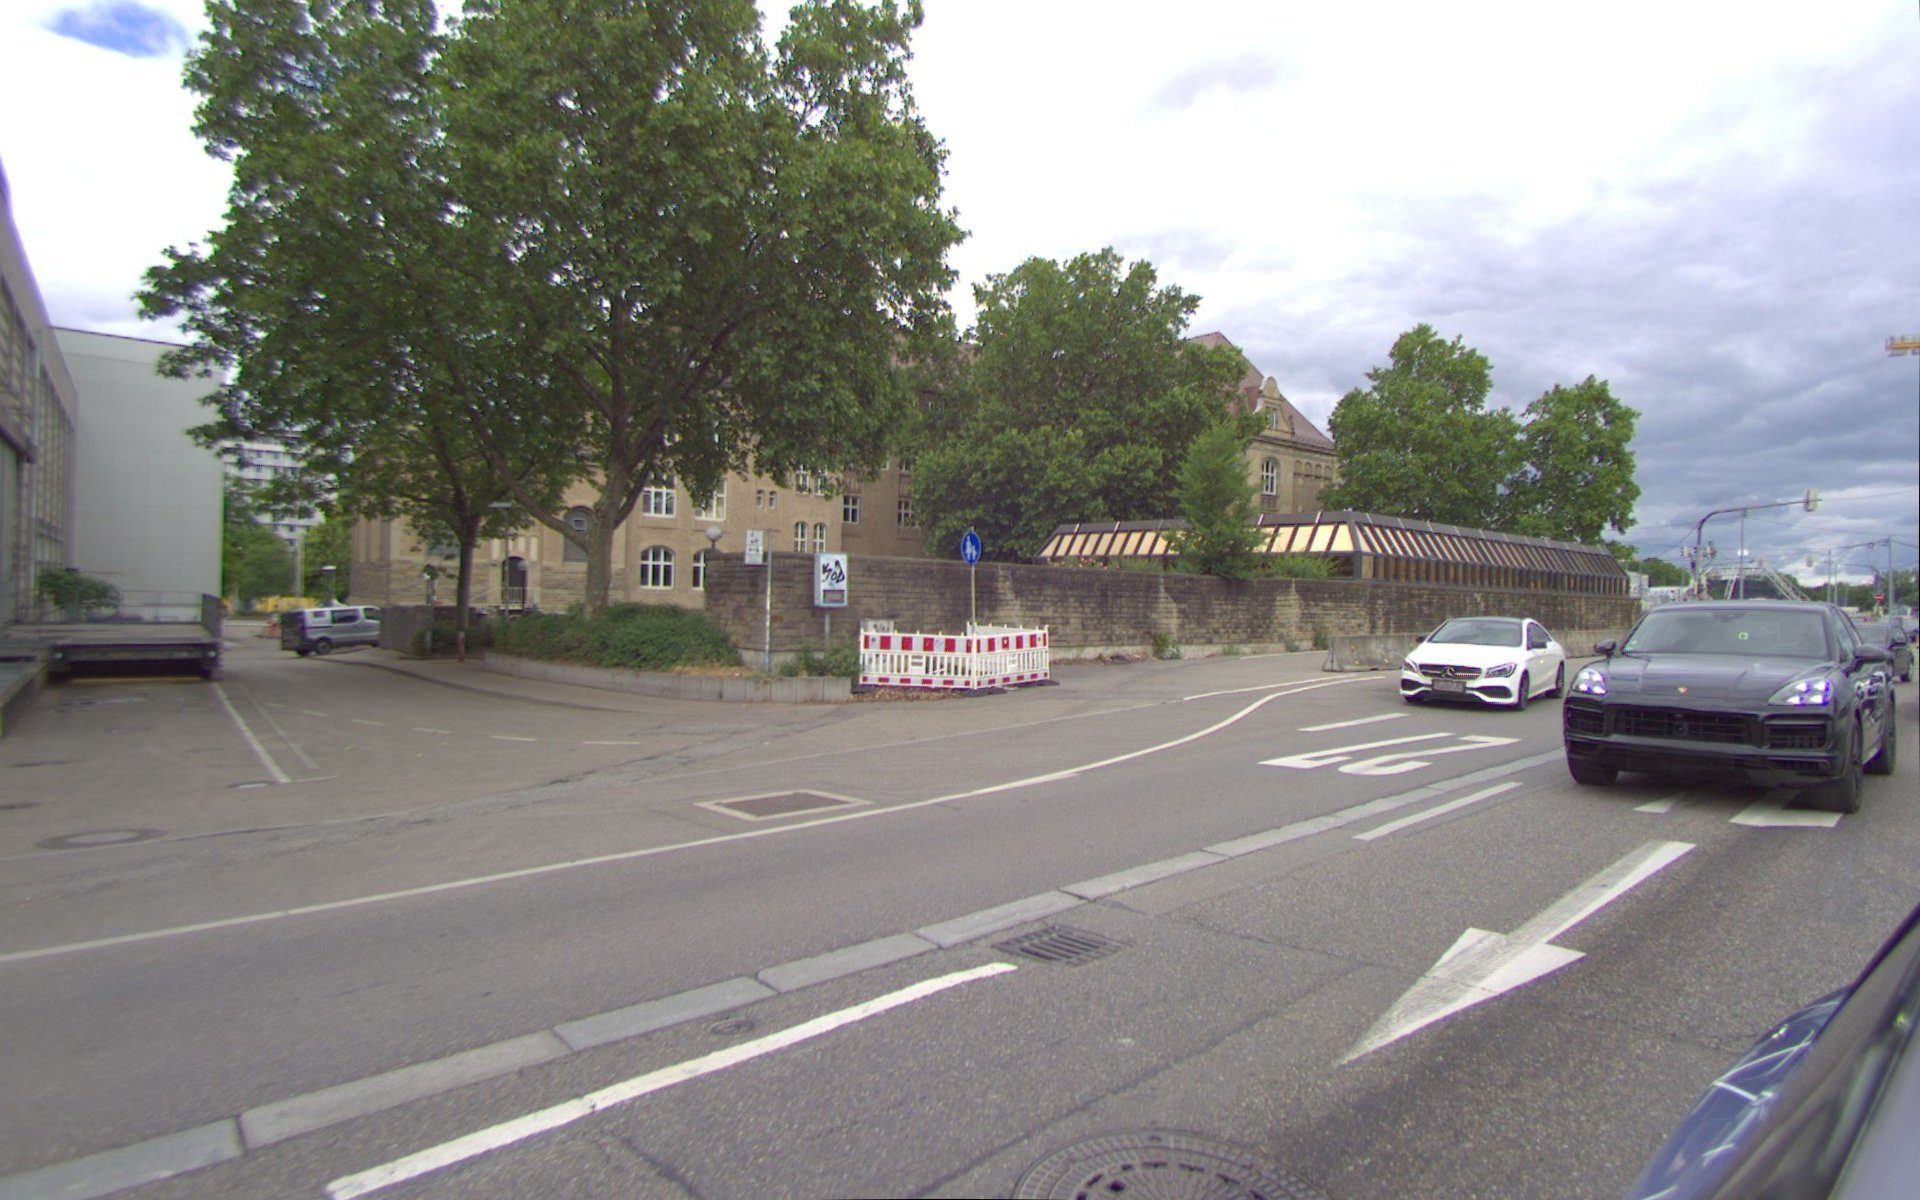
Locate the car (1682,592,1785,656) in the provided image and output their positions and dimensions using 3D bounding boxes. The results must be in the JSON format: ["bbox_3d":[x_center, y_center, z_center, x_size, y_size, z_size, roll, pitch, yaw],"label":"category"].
[{"bbox_3d":[26.087,0.803,34.099,3.607,1.962,1.937,2,2,-40],"label":"car"}]

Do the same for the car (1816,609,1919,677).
[{"bbox_3d":[23.014,1.032,25.308,4.340,1.488,1.732,1,1,-40],"label":"car"}]

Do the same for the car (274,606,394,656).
[{"bbox_3d":[-26.870,1.301,43.576,1.983,2.039,3.956,-1,-1,31],"label":"car"}]

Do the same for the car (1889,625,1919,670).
[{"bbox_3d":[33.223,1.629,34.818,3.510,1.437,1.575,1,1,-43],"label":"car"}]

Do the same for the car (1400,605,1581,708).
[{"bbox_3d":[9.025,0.861,17.044,1.733,1.453,4.315,2,0,41],"label":"car"}]

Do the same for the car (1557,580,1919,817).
[{"bbox_3d":[7.371,0.727,9.398,4.529,1.669,1.953,1,-1,-43],"label":"car"}]

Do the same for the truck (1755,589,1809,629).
[{"bbox_3d":[81.155,0.880,100.066,2.888,3.721,8.925,1,0,31],"label":"truck"}]

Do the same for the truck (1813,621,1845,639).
[{"bbox_3d":[82.412,2.820,96.018,1.813,1.560,3.716,1,-1,33],"label":"truck"}]
